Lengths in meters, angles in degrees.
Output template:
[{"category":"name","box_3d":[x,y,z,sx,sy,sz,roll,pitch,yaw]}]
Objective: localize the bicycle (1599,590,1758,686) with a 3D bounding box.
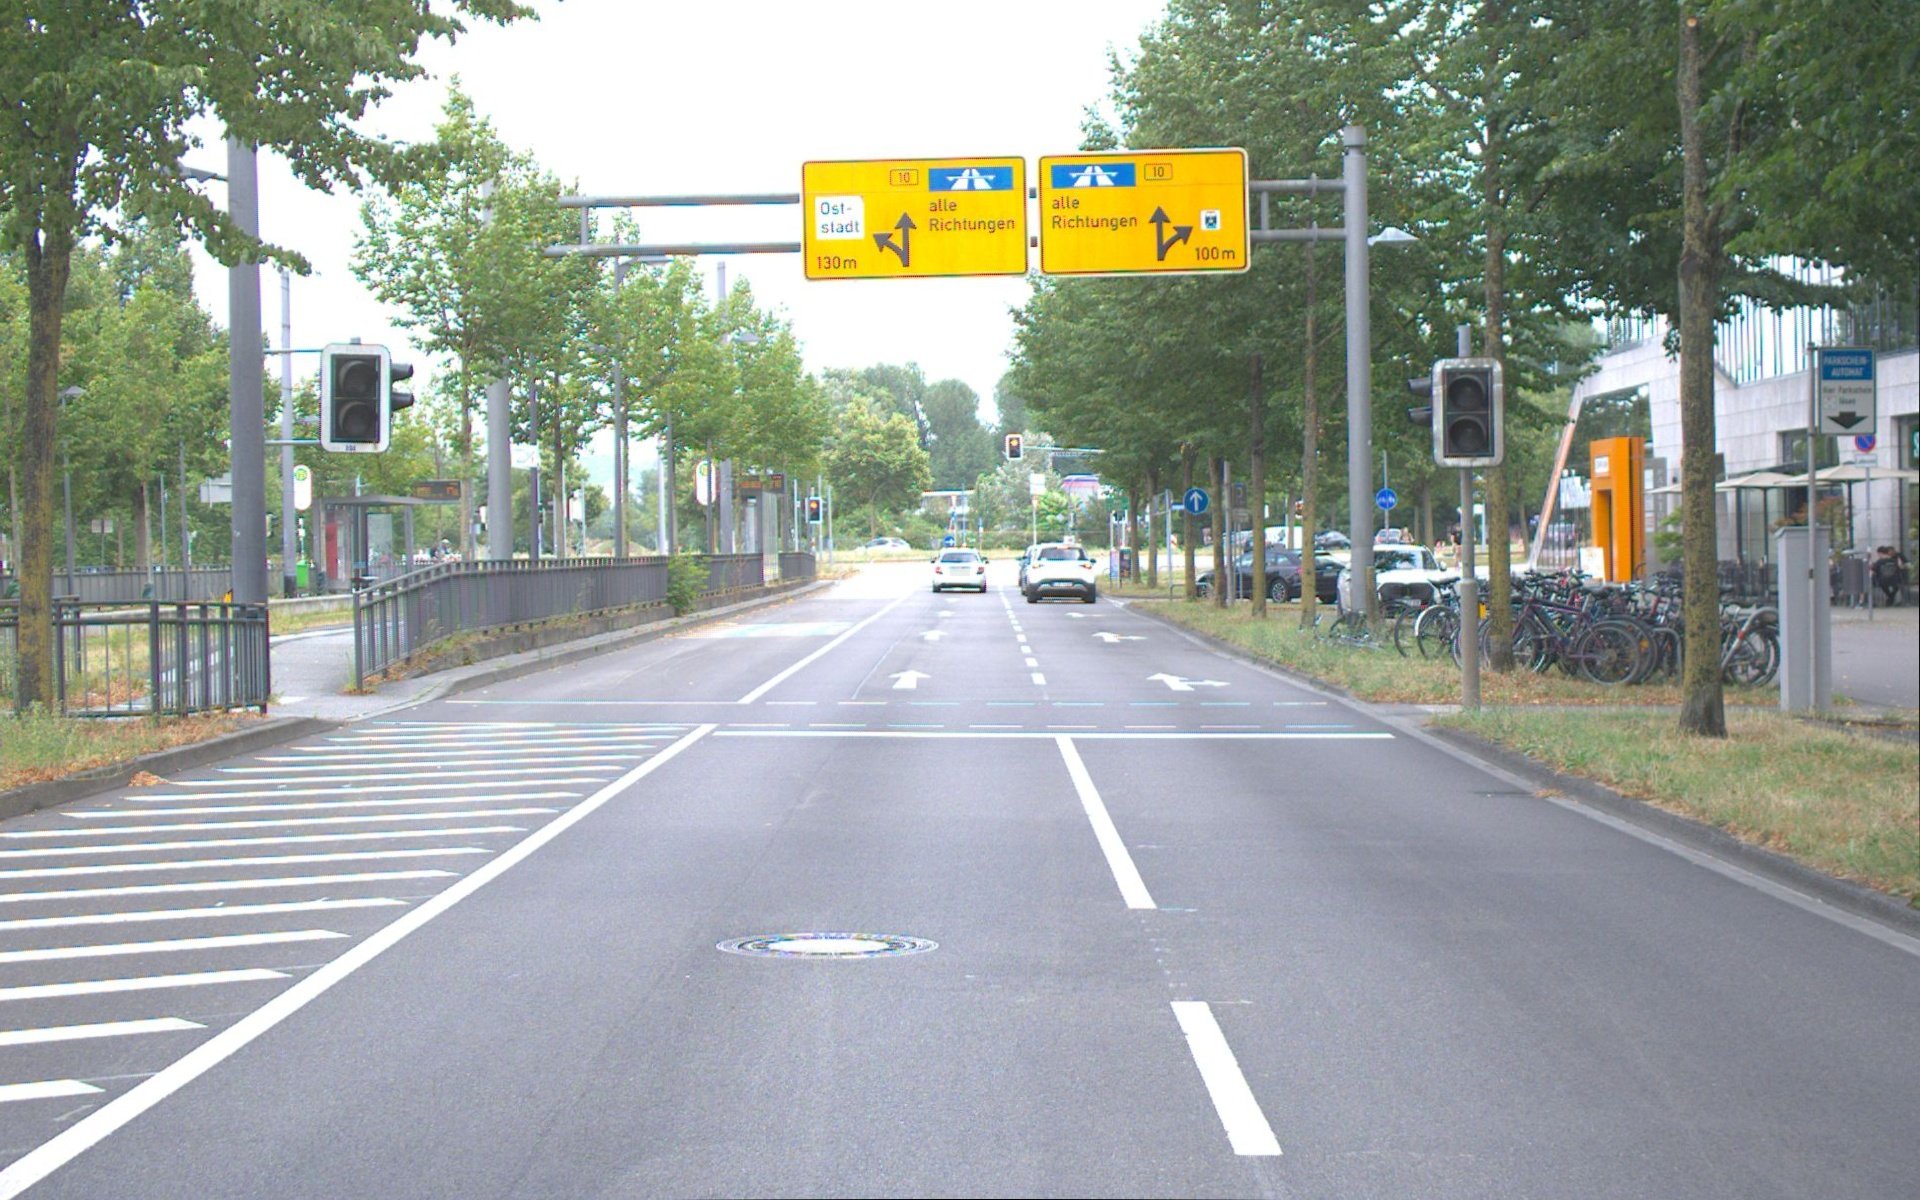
[{"category":"bicycle","box_3d":[7.490,0.396,35.870,1.529,0.950,0.484,2,1,-3]}]

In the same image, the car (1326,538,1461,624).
[{"category":"car","box_3d":[8.171,-0.394,65.126,1.938,1.546,4.594,-1,1,0]}]

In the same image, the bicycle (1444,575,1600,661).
[{"category":"bicycle","box_3d":[7.587,0.236,46.437,1.929,1.061,0.705,2,1,-2]}]

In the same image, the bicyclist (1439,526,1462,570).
[{"category":"bicyclist","box_3d":[17.969,-1.909,125.916,0.724,1.577,0.990,-1,0,1]}]

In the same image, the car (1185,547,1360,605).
[{"category":"car","box_3d":[8.247,-0.645,91.179,1.941,1.470,4.870,-1,1,-34]}]

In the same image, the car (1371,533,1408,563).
[{"category":"car","box_3d":[24.031,-2.913,192.304,1.784,1.630,4.400,-1,1,10]}]

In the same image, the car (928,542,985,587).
[{"category":"car","box_3d":[-0.127,-1.173,113.766,1.773,1.443,3.911,-1,1,-1]}]

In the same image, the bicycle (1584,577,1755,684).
[{"category":"bicycle","box_3d":[7.551,0.322,36.605,1.668,1.087,0.525,2,1,-3]}]

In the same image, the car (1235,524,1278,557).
[{"category":"car","box_3d":[17.094,-3.415,198.108,1.993,1.785,4.000,1,0,-1]}]

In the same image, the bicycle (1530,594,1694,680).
[{"category":"bicycle","box_3d":[7.484,0.420,39.471,1.714,0.903,0.589,2,1,-8]}]

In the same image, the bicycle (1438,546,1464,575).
[{"category":"bicycle","box_3d":[17.992,-1.441,126.019,0.673,1.038,2.007,-1,1,0]}]

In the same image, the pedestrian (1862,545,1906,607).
[{"category":"pedestrian","box_3d":[17.771,-0.462,66.094,0.719,1.188,0.758,-1,1,23]}]

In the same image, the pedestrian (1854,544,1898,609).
[{"category":"pedestrian","box_3d":[17.103,-0.439,64.198,0.773,1.188,1.105,-1,1,16]}]

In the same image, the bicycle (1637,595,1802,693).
[{"category":"bicycle","box_3d":[7.746,0.445,35.097,1.529,0.950,0.552,2,1,-3]}]

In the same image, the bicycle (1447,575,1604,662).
[{"category":"bicycle","box_3d":[7.509,0.240,45.677,1.929,1.061,0.642,2,1,-2]}]

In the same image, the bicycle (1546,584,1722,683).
[{"category":"bicycle","box_3d":[7.470,0.373,38.129,1.772,1.008,0.610,2,1,-8]}]

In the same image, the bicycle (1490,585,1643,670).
[{"category":"bicycle","box_3d":[7.599,0.342,43.101,1.743,0.971,0.609,2,1,-8]}]

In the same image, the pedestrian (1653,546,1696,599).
[{"category":"pedestrian","box_3d":[16.927,-0.658,81.476,0.898,1.224,0.950,-1,1,5]}]

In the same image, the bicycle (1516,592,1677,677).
[{"category":"bicycle","box_3d":[7.422,0.397,40.106,1.714,0.903,0.589,2,1,-8]}]

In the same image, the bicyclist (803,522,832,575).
[{"category":"bicyclist","box_3d":[-5.325,-1.911,128.414,0.732,1.880,0.731,5,-5,-37]}]

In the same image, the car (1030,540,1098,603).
[{"category":"car","box_3d":[2.829,-0.797,94.360,1.779,1.651,4.023,-1,1,1]}]
